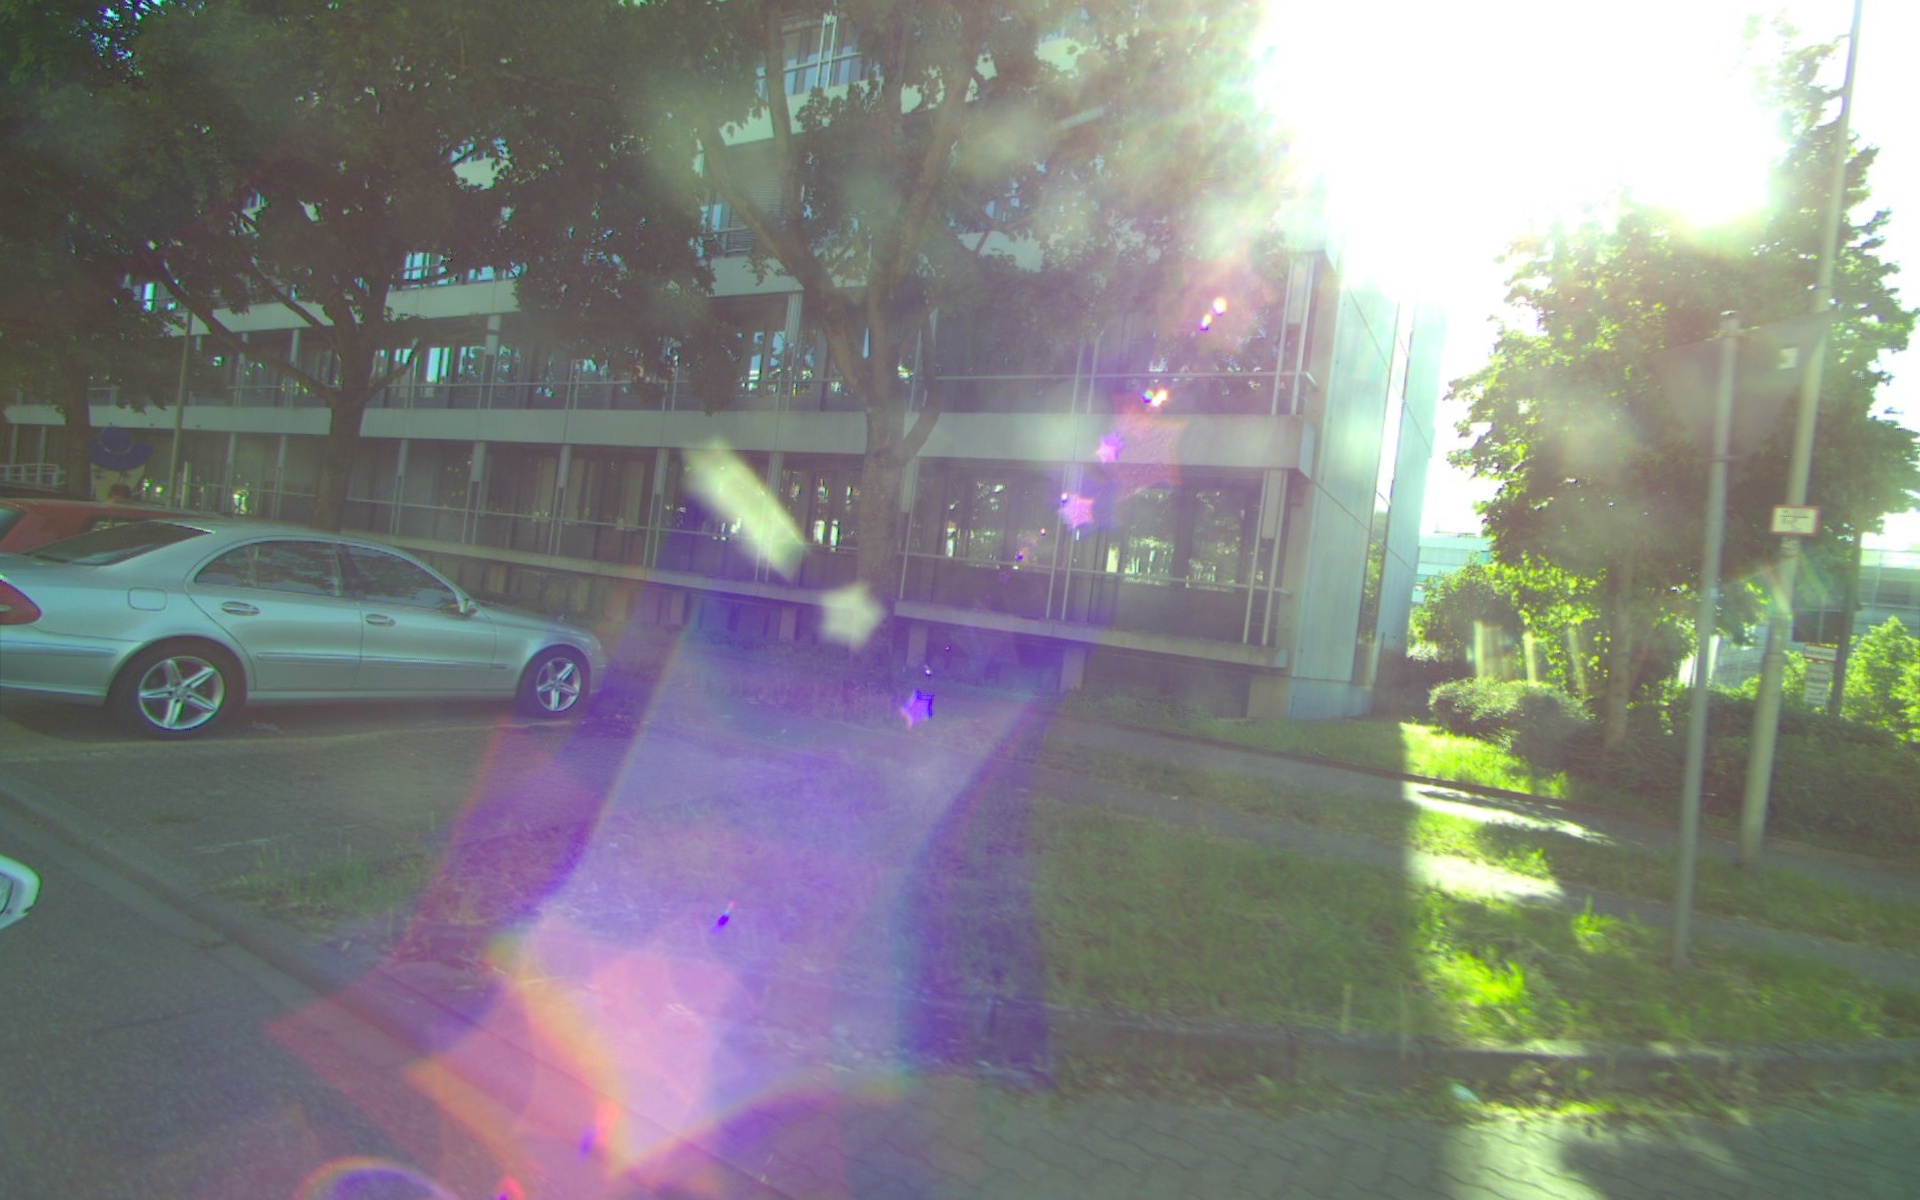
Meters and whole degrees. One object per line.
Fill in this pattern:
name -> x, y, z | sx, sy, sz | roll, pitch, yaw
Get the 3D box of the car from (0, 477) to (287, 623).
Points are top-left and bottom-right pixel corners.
car -> -11.403, -0.674, 12.592 | 1.891, 1.562, 4.516 | 7, 1, 33

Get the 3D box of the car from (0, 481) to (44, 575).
car -> -17.259, -1.351, 15.905 | 1.589, 1.512, 3.748 | 7, 1, 28

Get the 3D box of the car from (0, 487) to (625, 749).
car -> -5.119, 0.125, 7.909 | 1.718, 1.494, 4.580 | 7, 1, 32

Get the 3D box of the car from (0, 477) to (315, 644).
car -> -9.808, -0.469, 10.704 | 1.892, 1.562, 4.514 | 7, 1, 35

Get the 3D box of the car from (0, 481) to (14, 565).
car -> -19.203, -1.591, 16.943 | 1.968, 1.512, 4.293 | 7, 1, 26

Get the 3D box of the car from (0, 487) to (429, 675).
car -> -7.485, -0.156, 9.532 | 1.892, 1.465, 3.837 | 7, 1, 35
